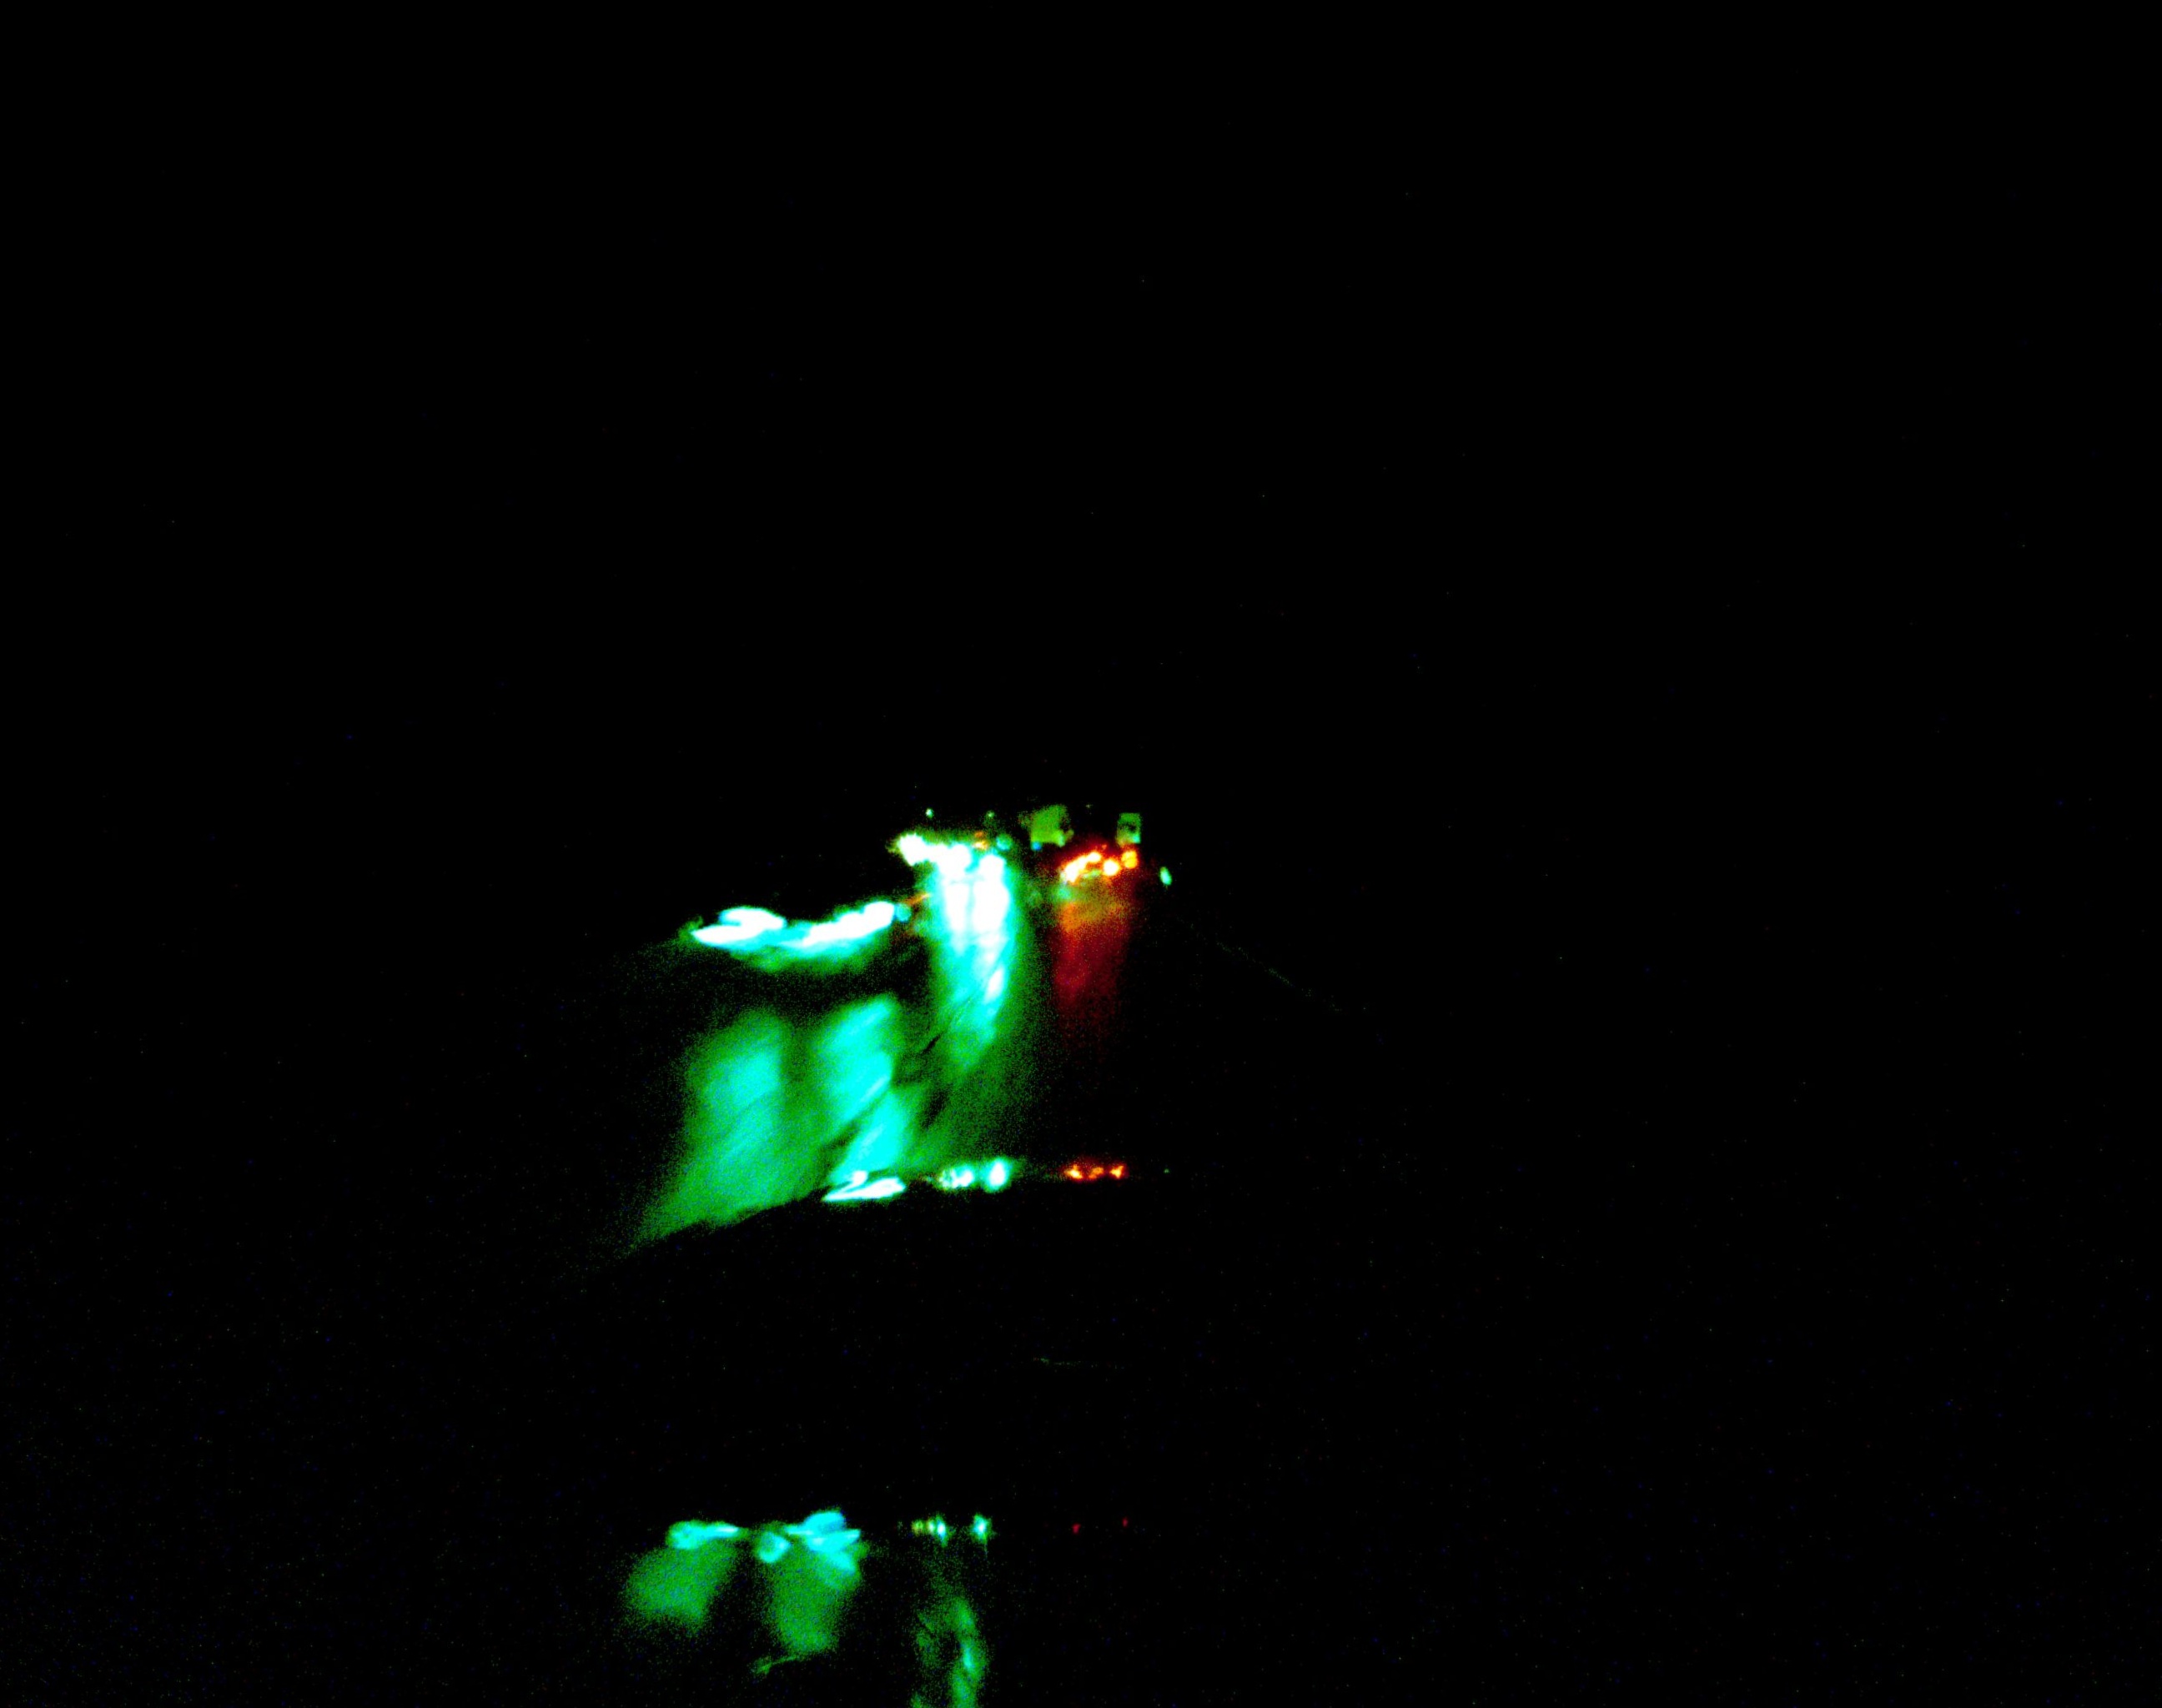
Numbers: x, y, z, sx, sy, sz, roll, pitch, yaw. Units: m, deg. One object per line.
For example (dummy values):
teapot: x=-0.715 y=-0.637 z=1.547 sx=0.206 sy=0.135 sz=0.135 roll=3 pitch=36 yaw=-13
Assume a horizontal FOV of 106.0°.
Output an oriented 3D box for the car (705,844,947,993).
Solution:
car: x=-3.292 y=0.733 z=11.708 sx=1.925 sy=1.584 sz=4.981 roll=-3 pitch=0 yaw=-1

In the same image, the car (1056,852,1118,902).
car: x=0.133 y=0.763 z=29.927 sx=1.989 sy=1.628 sz=4.979 roll=-1 pitch=0 yaw=-3

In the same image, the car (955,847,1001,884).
car: x=-5.278 y=0.553 z=42.164 sx=1.990 sy=1.708 sz=4.977 roll=-3 pitch=0 yaw=-4

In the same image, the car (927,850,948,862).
car: x=-19.201 y=0.277 z=108.842 sx=1.779 sy=1.483 sz=4.347 roll=-1 pitch=0 yaw=-23
